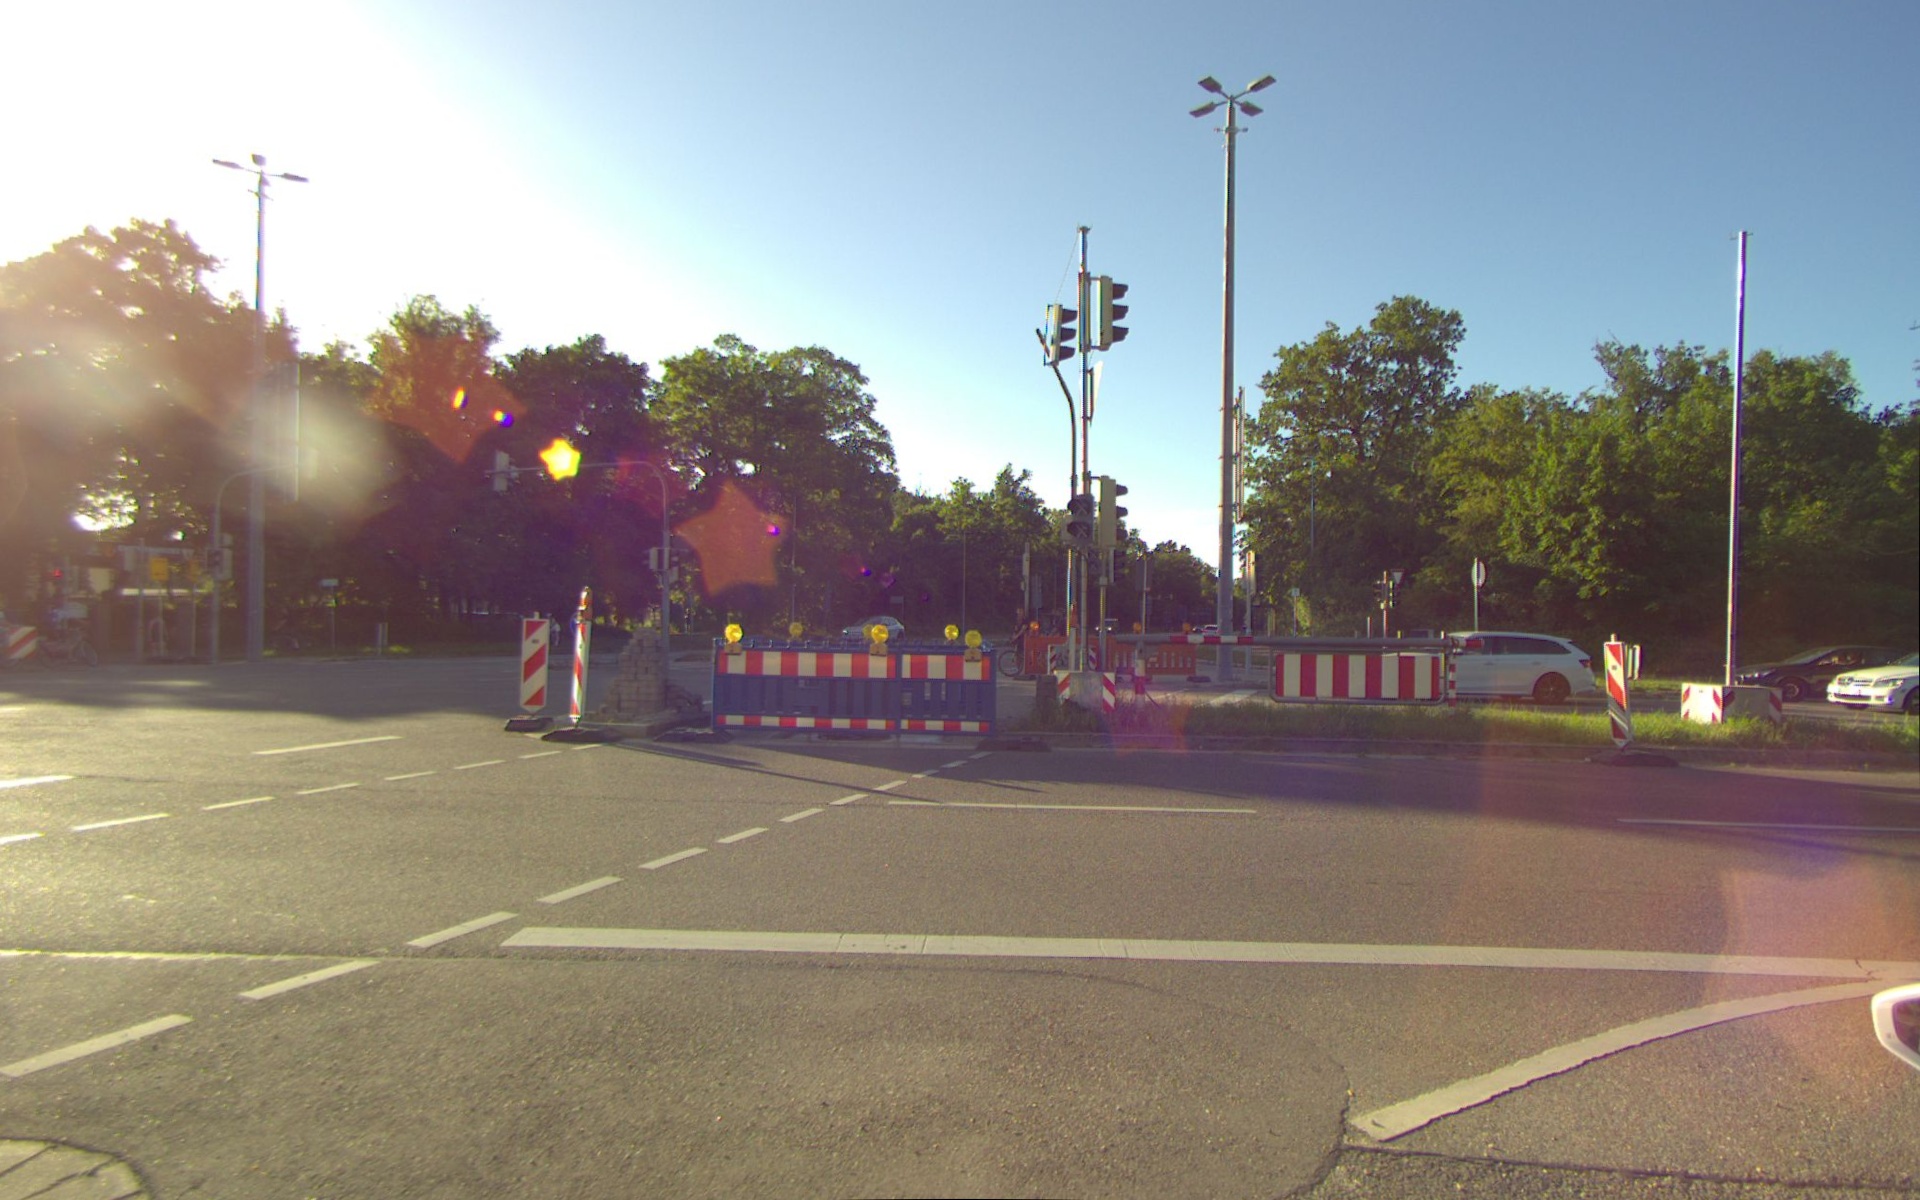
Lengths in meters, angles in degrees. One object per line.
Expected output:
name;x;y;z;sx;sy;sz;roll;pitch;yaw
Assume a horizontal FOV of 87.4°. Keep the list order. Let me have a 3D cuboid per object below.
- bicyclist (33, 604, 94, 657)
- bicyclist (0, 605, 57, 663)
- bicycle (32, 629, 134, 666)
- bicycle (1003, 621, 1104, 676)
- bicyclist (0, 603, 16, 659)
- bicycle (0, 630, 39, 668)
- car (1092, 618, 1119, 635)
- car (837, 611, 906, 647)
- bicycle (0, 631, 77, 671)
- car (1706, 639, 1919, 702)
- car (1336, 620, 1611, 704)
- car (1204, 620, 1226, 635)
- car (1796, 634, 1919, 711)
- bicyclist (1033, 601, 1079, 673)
bicyclist;-23.426;0.788;26.252;0.703;1.360;0.989;0;-1;26
bicyclist;-22.385;0.808;24.016;0.703;1.357;0.989;0;-1;26
bicycle;-23.234;1.245;26.662;0.703;0.926;1.909;0;-1;26
bicycle;2.595;1.346;28.013;2.593;1.401;0.966;2;0;-11
bicyclist;-24.086;0.763;24.755;0.703;1.373;0.989;0;-1;26
bicycle;-24.091;1.203;24.755;0.703;0.926;1.909;0;-1;26
car;15.411;2.788;106.349;1.961;1.676;4.249;0;-1;21
car;-4.623;1.520;52.993;1.961;1.813;4.249;0;-1;21
bicycle;-22.417;1.205;23.960;0.703;0.926;1.909;0;-1;26
car;21.625;1.729;24.990;4.557;1.402;2.001;1;-1;6
car;10.620;1.254;21.053;4.737;1.601;2.000;1;-1;1
car;25.441;2.726;100.169;1.908;1.433;4.001;0;-1;18
car;20.300;1.473;20.521;4.711;1.455;2.001;1;-1;2
bicyclist;2.661;1.029;28.041;0.998;1.955;0.966;2;0;-11
